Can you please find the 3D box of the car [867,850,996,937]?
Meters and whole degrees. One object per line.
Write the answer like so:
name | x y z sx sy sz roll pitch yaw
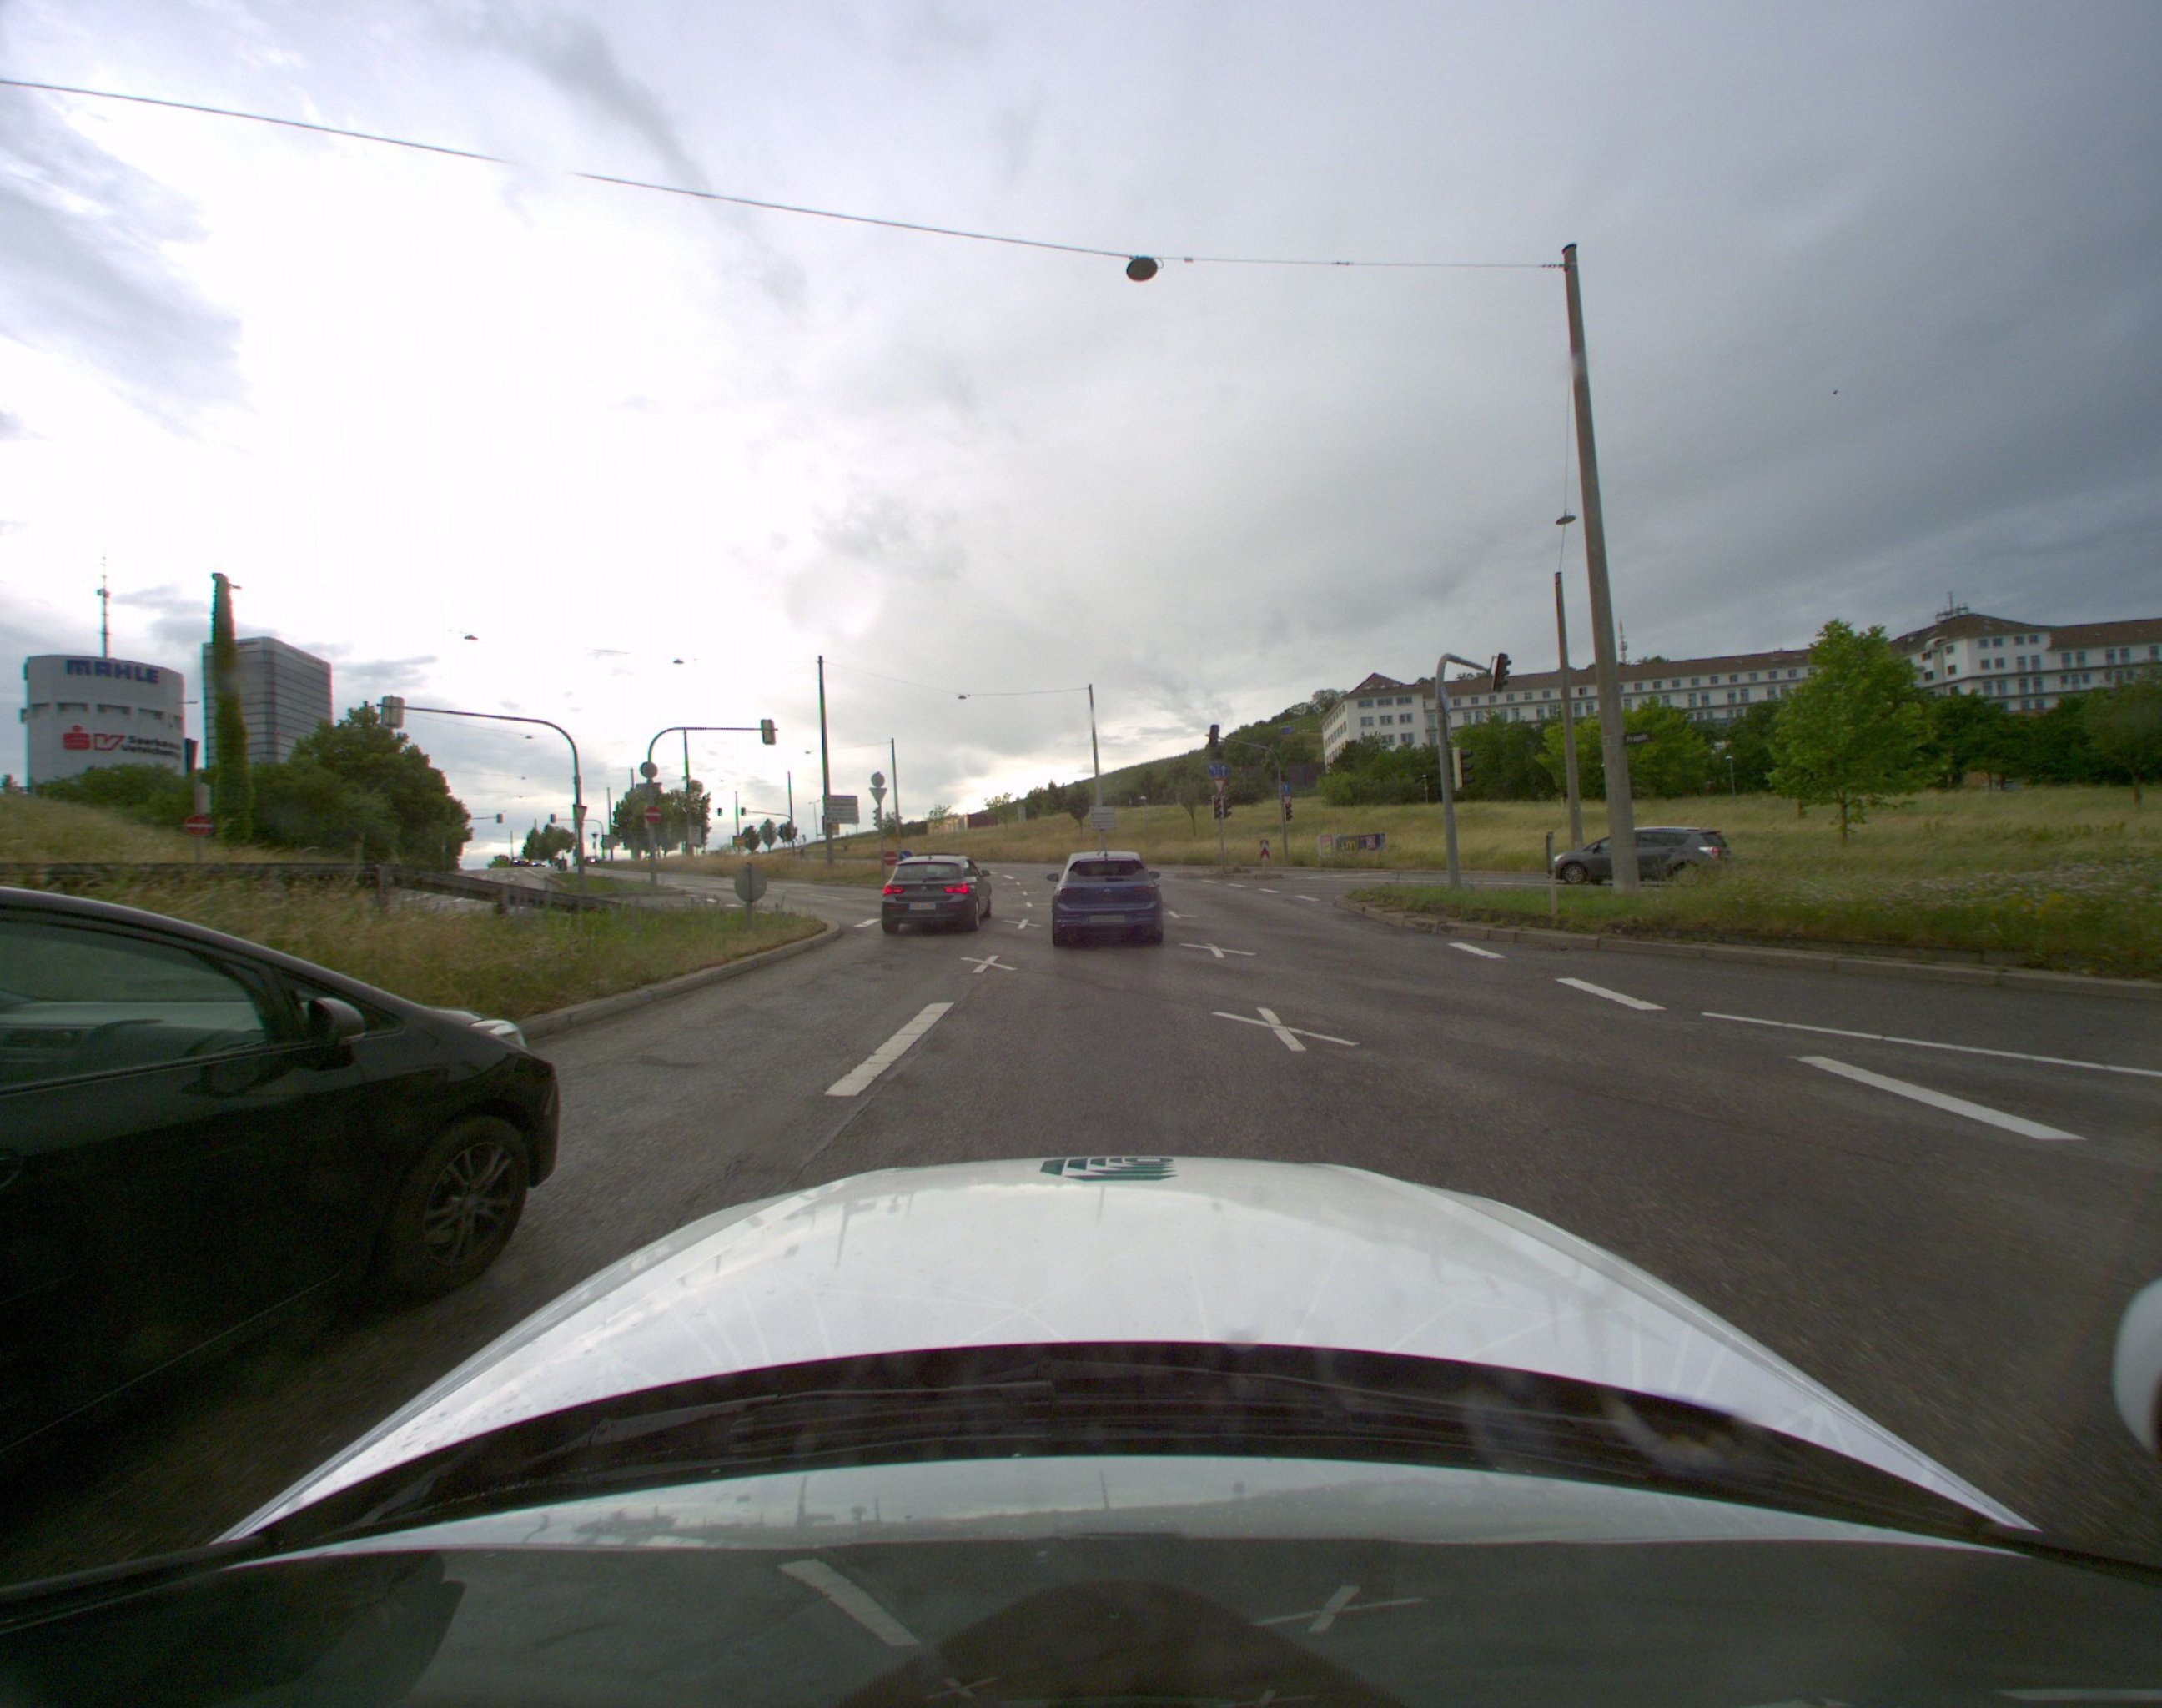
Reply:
car | -2.870 0.698 16.458 1.863 1.461 3.975 -2 1 -1

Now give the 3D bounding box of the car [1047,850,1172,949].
car | 0.399 0.666 14.175 1.832 1.393 3.999 -2 1 -1

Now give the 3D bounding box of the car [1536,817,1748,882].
car | 15.772 -0.091 23.113 2.010 1.642 4.575 0 -1 -39

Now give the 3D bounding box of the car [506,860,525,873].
car | -80.174 1.769 115.503 1.877 1.620 3.954 -2 1 -39

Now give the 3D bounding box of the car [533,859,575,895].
car | -32.793 1.416 50.639 2.009 2.013 3.957 -4 2 -34

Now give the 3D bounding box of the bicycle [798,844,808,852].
bicycle | -38.538 -0.836 113.017 0.638 1.105 1.731 -3 0 -43

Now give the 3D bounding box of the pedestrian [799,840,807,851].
pedestrian | -38.533 -1.171 113.003 0.638 1.570 0.884 -3 1 -43

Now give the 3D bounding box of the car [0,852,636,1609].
car | -3.146 0.794 1.924 1.788 1.565 4.047 0 0 3
